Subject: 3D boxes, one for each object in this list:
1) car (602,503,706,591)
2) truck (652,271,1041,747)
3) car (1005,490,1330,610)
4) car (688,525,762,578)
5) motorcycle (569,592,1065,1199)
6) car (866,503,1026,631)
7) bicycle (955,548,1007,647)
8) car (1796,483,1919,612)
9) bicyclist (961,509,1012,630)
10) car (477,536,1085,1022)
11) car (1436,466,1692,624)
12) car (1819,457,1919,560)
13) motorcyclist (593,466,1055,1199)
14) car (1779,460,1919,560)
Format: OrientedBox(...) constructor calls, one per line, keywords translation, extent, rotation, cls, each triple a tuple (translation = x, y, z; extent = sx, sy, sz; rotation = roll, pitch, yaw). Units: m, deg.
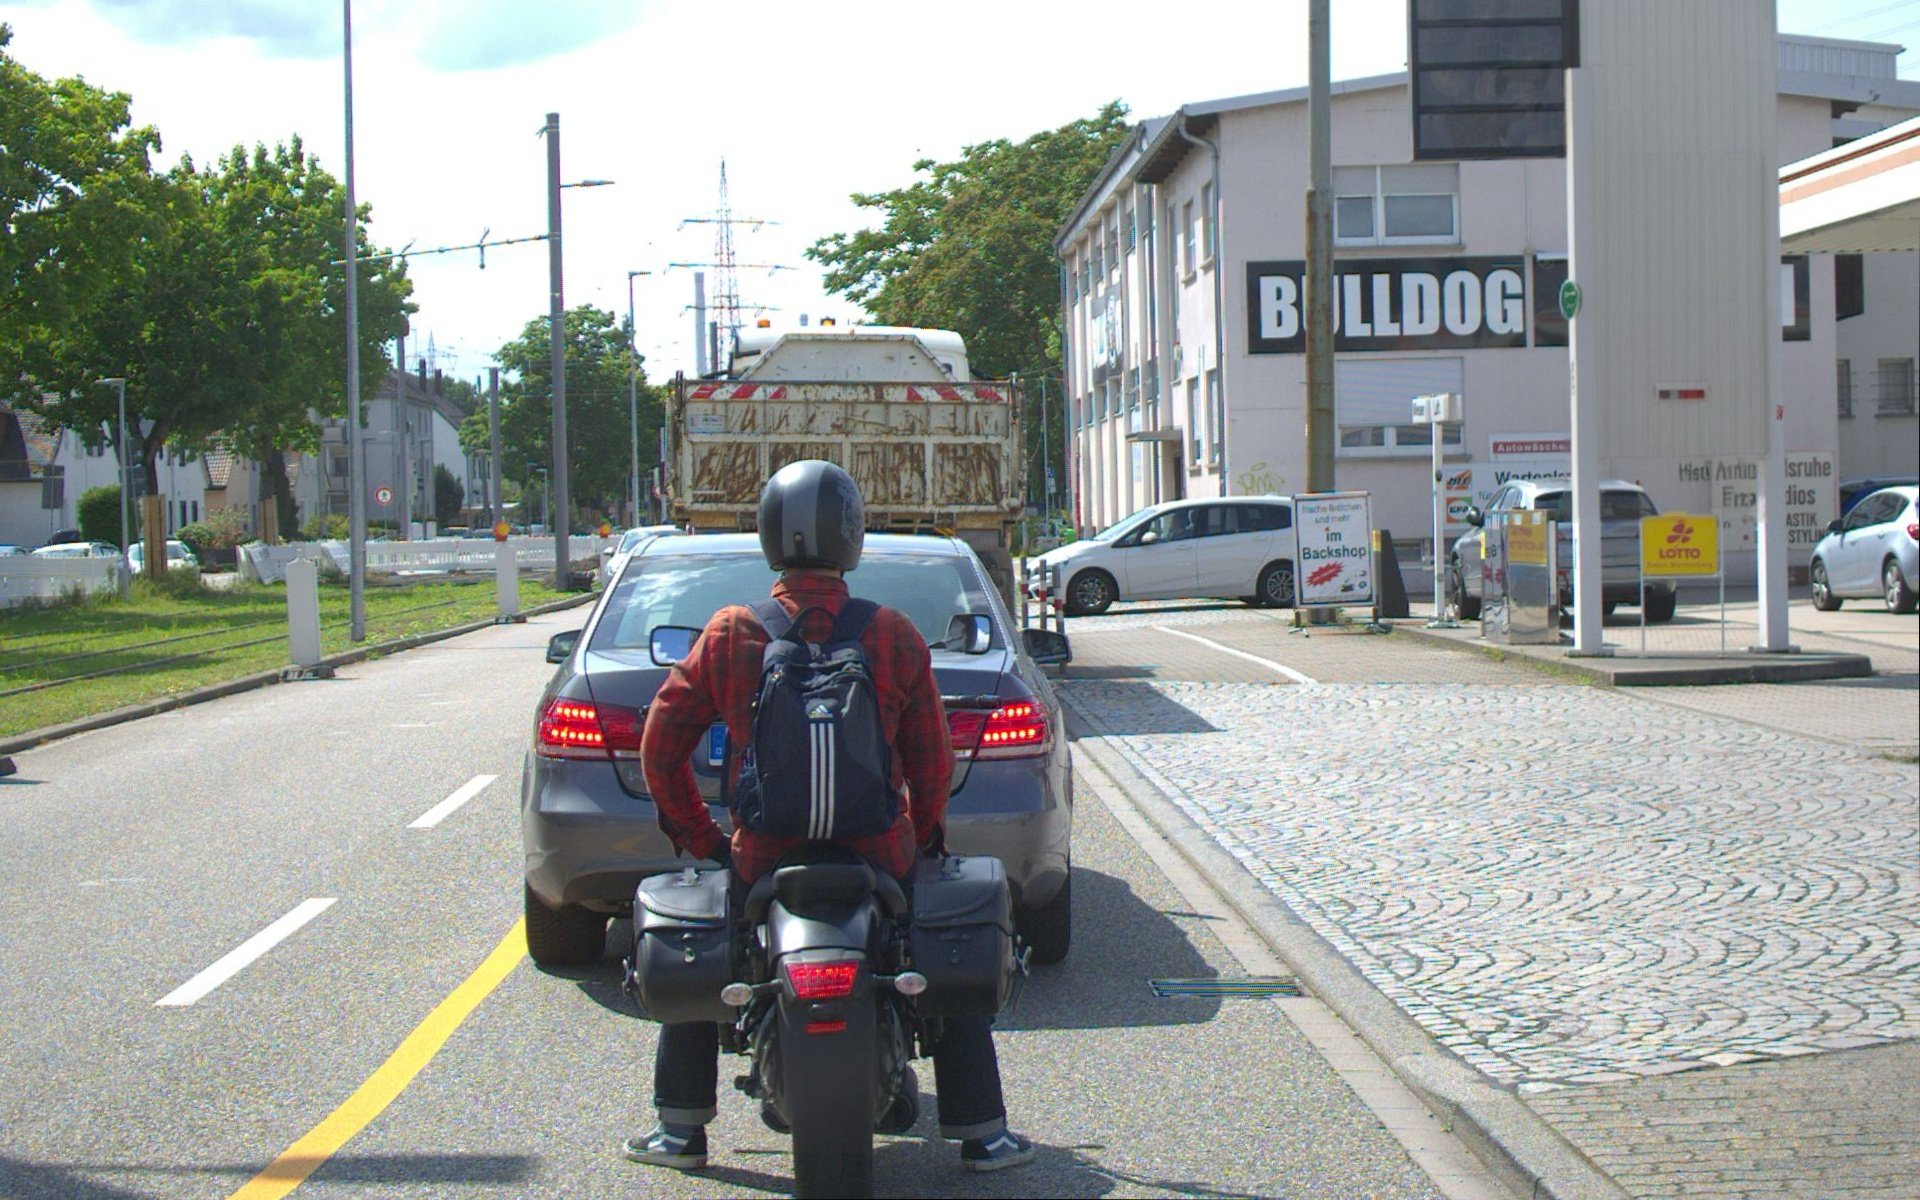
OrientedBox(translation=(-5.393, -0.974, 60.995), extent=(1.654, 1.442, 4.304), rotation=(-2, 2, -3), cls="car")
OrientedBox(translation=(-0.848, -0.841, 28.707), extent=(2.610, 3.244, 9.183), rotation=(-2, 3, -1), cls="truck")
OrientedBox(translation=(2.987, -0.731, 49.907), extent=(4.329, 1.546, 1.950), rotation=(-2, 1, -9), cls="car")
OrientedBox(translation=(-6.512, -1.345, 95.650), extent=(1.846, 1.382, 4.345), rotation=(-2, 1, -2), cls="car")
OrientedBox(translation=(-0.306, 0.669, 7.928), extent=(0.939, 1.316, 2.645), rotation=(1, 1, -1), cls="motorcycle")
OrientedBox(translation=(-0.189, -0.432, 41.593), extent=(1.821, 1.459, 4.000), rotation=(-1, 2, -1), cls="car")
OrientedBox(translation=(0.302, -0.050, 50.224), extent=(0.693, 1.357, 2.419), rotation=(-2, 2, 0), cls="bicycle")
OrientedBox(translation=(11.329, -0.642, 40.077), extent=(1.959, 1.415, 4.001), rotation=(-2, 1, -3), cls="car")
OrientedBox(translation=(0.381, -0.453, 50.073), extent=(0.671, 1.738, 0.814), rotation=(-1, 1, -2), cls="bicyclist")
OrientedBox(translation=(-0.585, 0.504, 12.397), extent=(1.821, 1.419, 4.001), rotation=(-1, 2, -1), cls="car")
OrientedBox(translation=(6.832, -0.627, 39.292), extent=(1.959, 1.643, 4.001), rotation=(-2, 1, -3), cls="car")
OrientedBox(translation=(16.586, -1.560, 57.250), extent=(3.986, 1.643, 1.966), rotation=(-2, 1, -2), cls="car")
OrientedBox(translation=(-0.297, 0.520, 7.744), extent=(0.939, 1.609, 1.205), rotation=(1, 1, -1), cls="motorcyclist")
OrientedBox(translation=(16.520, -1.590, 59.795), extent=(3.986, 1.643, 1.966), rotation=(-2, 1, -2), cls="car")
